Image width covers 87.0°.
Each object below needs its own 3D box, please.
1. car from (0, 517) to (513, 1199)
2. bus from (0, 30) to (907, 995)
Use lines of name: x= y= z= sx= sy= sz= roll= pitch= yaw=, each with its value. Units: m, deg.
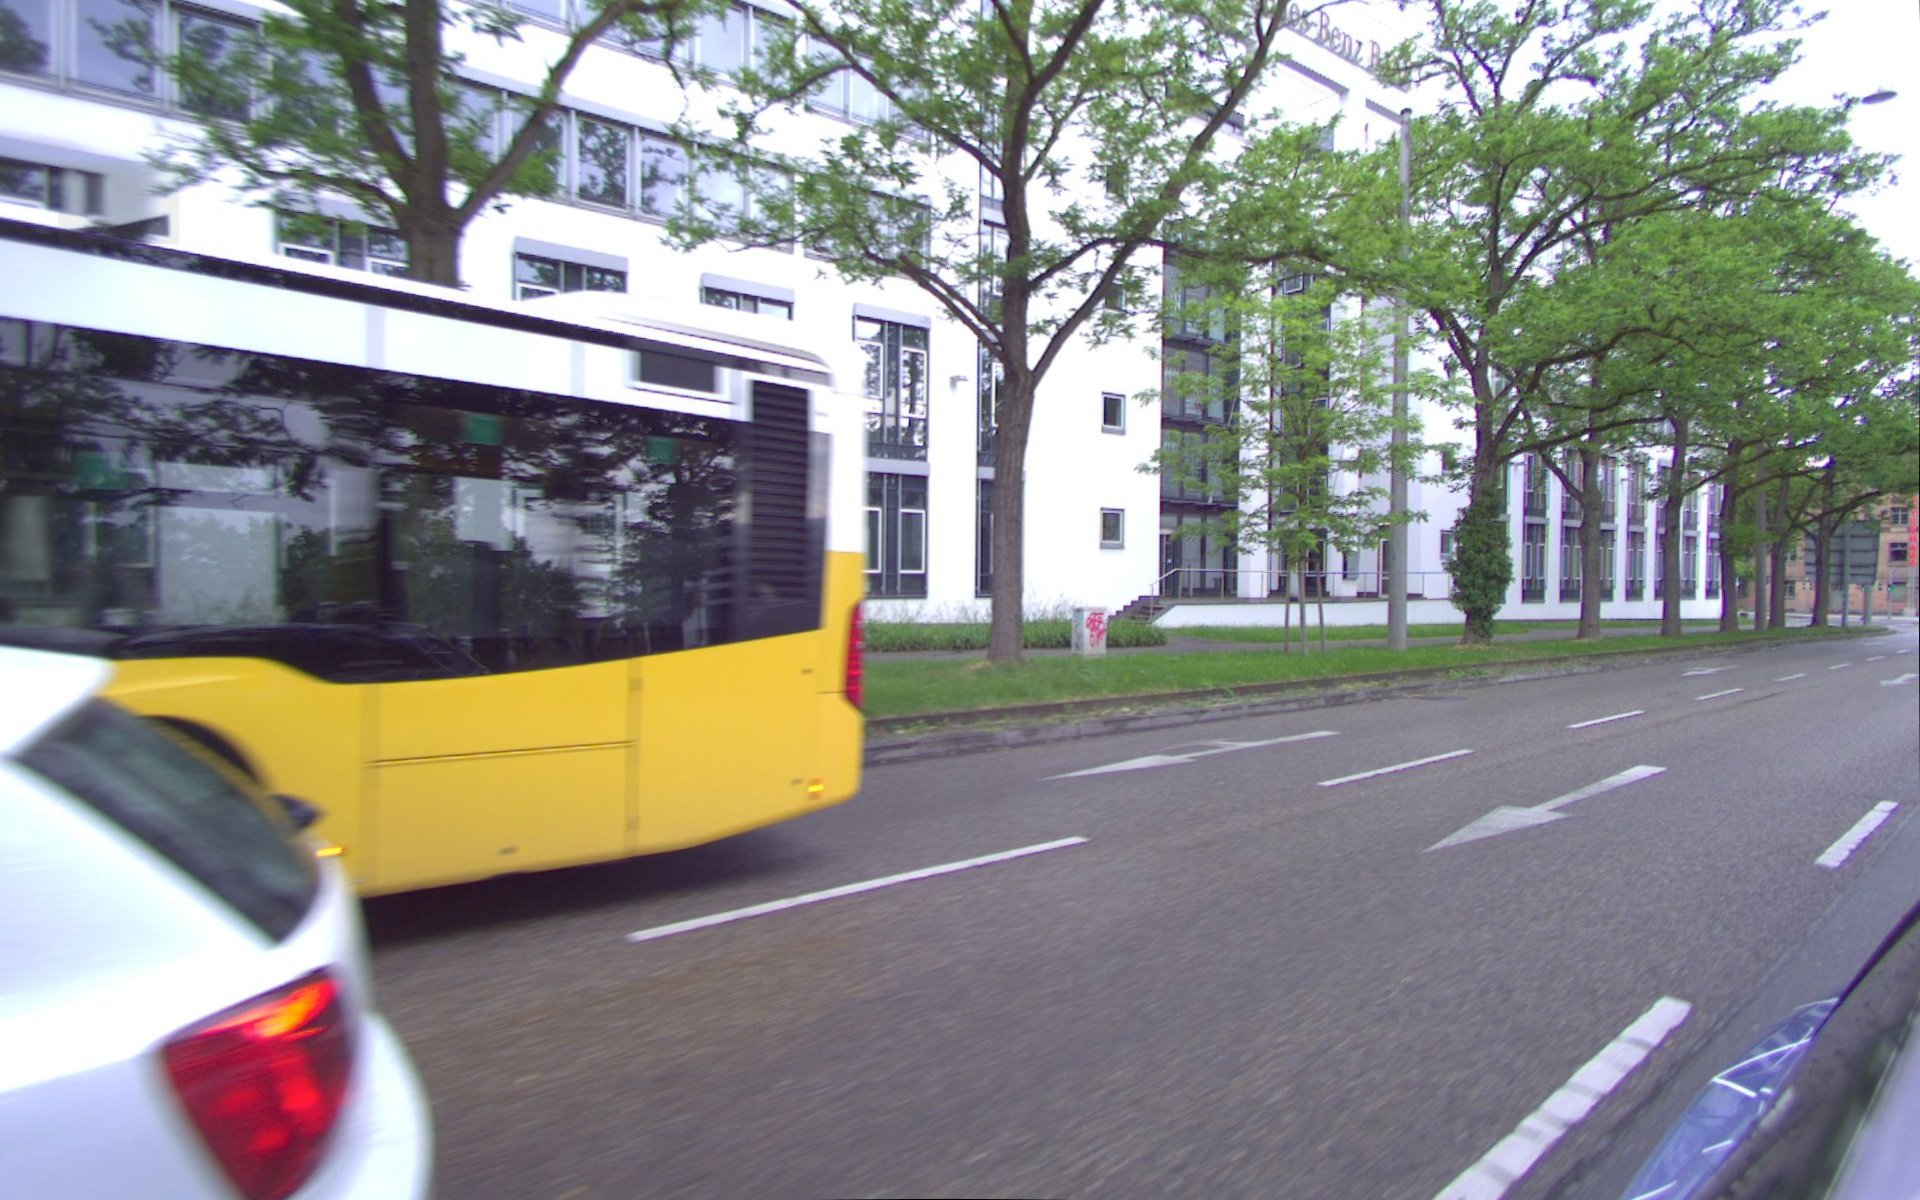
car: x=-2.525 y=0.669 z=0.673 sx=3.746 sy=1.450 sz=1.743 roll=-1 pitch=0 yaw=-42
bus: x=-5.724 y=-0.302 z=2.975 sx=11.929 sy=3.192 sz=2.732 roll=1 pitch=-1 yaw=-40
